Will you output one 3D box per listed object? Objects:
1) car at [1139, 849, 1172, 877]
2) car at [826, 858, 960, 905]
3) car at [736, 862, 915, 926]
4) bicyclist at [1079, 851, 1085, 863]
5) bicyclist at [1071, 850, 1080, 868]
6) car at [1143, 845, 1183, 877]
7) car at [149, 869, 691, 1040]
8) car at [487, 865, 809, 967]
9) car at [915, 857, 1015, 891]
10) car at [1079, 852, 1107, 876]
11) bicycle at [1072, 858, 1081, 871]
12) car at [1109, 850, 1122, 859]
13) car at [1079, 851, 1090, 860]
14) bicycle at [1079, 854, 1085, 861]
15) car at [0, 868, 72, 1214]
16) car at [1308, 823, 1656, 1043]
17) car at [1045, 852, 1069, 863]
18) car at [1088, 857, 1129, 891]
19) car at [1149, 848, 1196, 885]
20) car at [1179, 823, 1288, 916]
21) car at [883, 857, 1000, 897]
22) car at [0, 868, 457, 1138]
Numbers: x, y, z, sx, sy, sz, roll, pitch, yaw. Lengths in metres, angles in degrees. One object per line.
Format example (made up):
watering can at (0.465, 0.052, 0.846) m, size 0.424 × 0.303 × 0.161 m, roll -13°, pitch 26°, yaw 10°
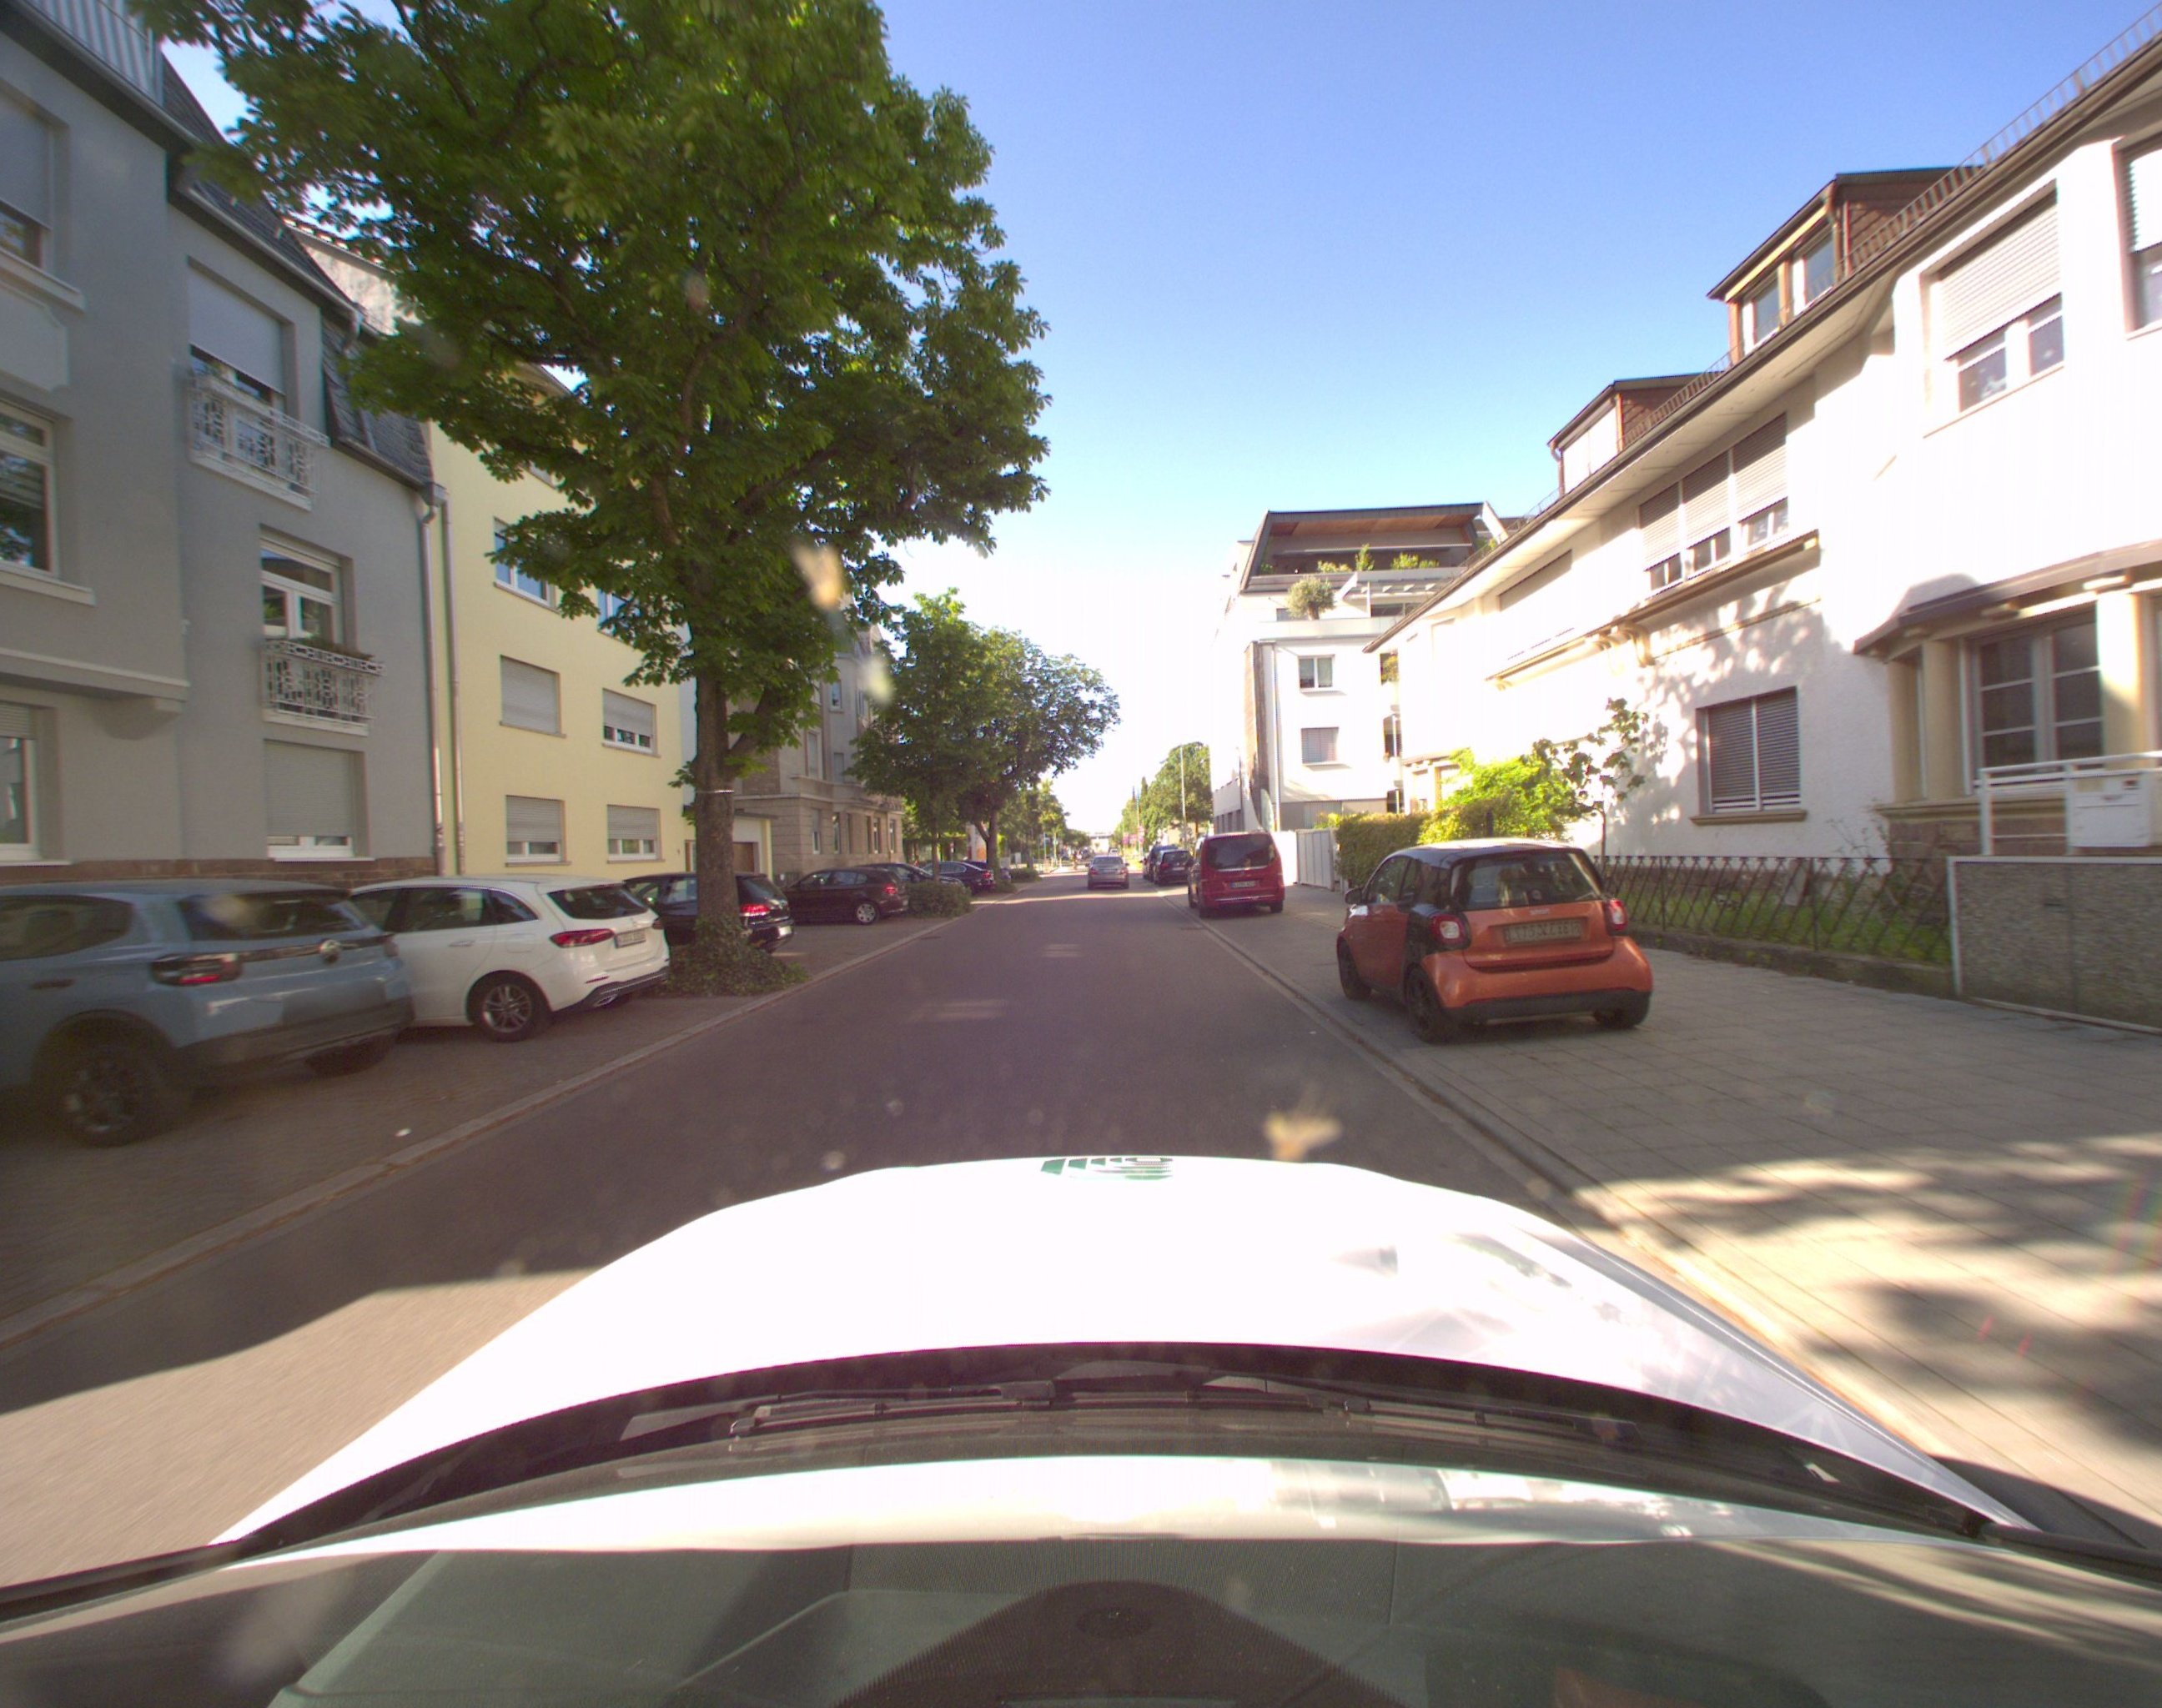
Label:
car at (4.266, 0.534, 46.993) m, size 1.558 × 1.410 × 3.732 m, roll -6°, pitch -1°, yaw 3°
car at (-6.238, 0.899, 27.437) m, size 4.167 × 1.500 × 1.996 m, roll 0°, pitch -1°, yaw -6°
car at (-6.426, 0.989, 20.807) m, size 3.973 × 1.421 × 1.771 m, roll -1°, pitch 1°, yaw 0°
bicyclist at (0.102, 0.364, 101.861) m, size 0.678 × 1.509 × 0.655 m, roll -3°, pitch 0°, yaw 3°
bicyclist at (-0.473, 0.454, 73.508) m, size 0.718 × 1.537 × 1.137 m, roll -3°, pitch 0°, yaw 2°
car at (4.242, 0.373, 42.562) m, size 1.676 × 1.435 × 4.267 m, roll -6°, pitch -1°, yaw 2°
car at (-6.427, 0.932, 8.286) m, size 4.009 × 1.484 × 1.807 m, roll 0°, pitch 0°, yaw 0°
car at (-6.567, 0.905, 12.735) m, size 4.013 × 1.444 × 1.798 m, roll 0°, pitch -1°, yaw -3°
car at (-5.445, 0.940, 38.726) m, size 4.460 × 1.479 × 1.868 m, roll -1°, pitch -1°, yaw -1°
car at (0.799, 0.664, 53.113) m, size 1.701 × 1.448 × 4.203 m, roll 0°, pitch -1°, yaw 1°
bicycle at (-0.421, 0.946, 73.484) m, size 0.717 × 1.079 × 1.892 m, roll -3°, pitch 0°, yaw 2°
car at (5.501, 0.129, 131.718) m, size 1.718 × 1.330 × 3.996 m, roll -2°, pitch 0°, yaw -3°
car at (0.679, 0.310, 152.607) m, size 1.783 × 1.532 × 3.995 m, roll -4°, pitch -2°, yaw -3°
bicycle at (0.094, 0.444, 101.872) m, size 0.587 × 0.931 × 1.851 m, roll -3°, pitch 0°, yaw 3°
car at (-6.915, 0.889, 3.162) m, size 3.846 × 1.575 × 1.850 m, roll -1°, pitch 0°, yaw 4°
car at (3.361, 0.570, 7.536) m, size 1.586 × 1.480 × 3.248 m, roll -4°, pitch 0°, yaw 1°
car at (-3.697, 0.600, 124.176) m, size 3.488 × 1.533 × 1.642 m, roll -2°, pitch 0°, yaw -6°
car at (1.227, 0.864, 35.705) m, size 1.720 × 1.420 × 3.962 m, roll 0°, pitch -1°, yaw 3°
car at (4.065, 0.534, 36.766) m, size 1.730 × 1.531 × 4.180 m, roll -2°, pitch 0°, yaw 2°
car at (3.595, 0.358, 20.143) m, size 1.864 × 1.905 × 5.201 m, roll -3°, pitch -1°, yaw 3°
car at (-5.686, 0.934, 33.551) m, size 4.460 × 1.479 × 1.868 m, roll -1°, pitch -1°, yaw -1°
car at (-6.904, 0.933, 5.853) m, size 3.499 × 1.575 × 1.773 m, roll -1°, pitch 0°, yaw 4°
